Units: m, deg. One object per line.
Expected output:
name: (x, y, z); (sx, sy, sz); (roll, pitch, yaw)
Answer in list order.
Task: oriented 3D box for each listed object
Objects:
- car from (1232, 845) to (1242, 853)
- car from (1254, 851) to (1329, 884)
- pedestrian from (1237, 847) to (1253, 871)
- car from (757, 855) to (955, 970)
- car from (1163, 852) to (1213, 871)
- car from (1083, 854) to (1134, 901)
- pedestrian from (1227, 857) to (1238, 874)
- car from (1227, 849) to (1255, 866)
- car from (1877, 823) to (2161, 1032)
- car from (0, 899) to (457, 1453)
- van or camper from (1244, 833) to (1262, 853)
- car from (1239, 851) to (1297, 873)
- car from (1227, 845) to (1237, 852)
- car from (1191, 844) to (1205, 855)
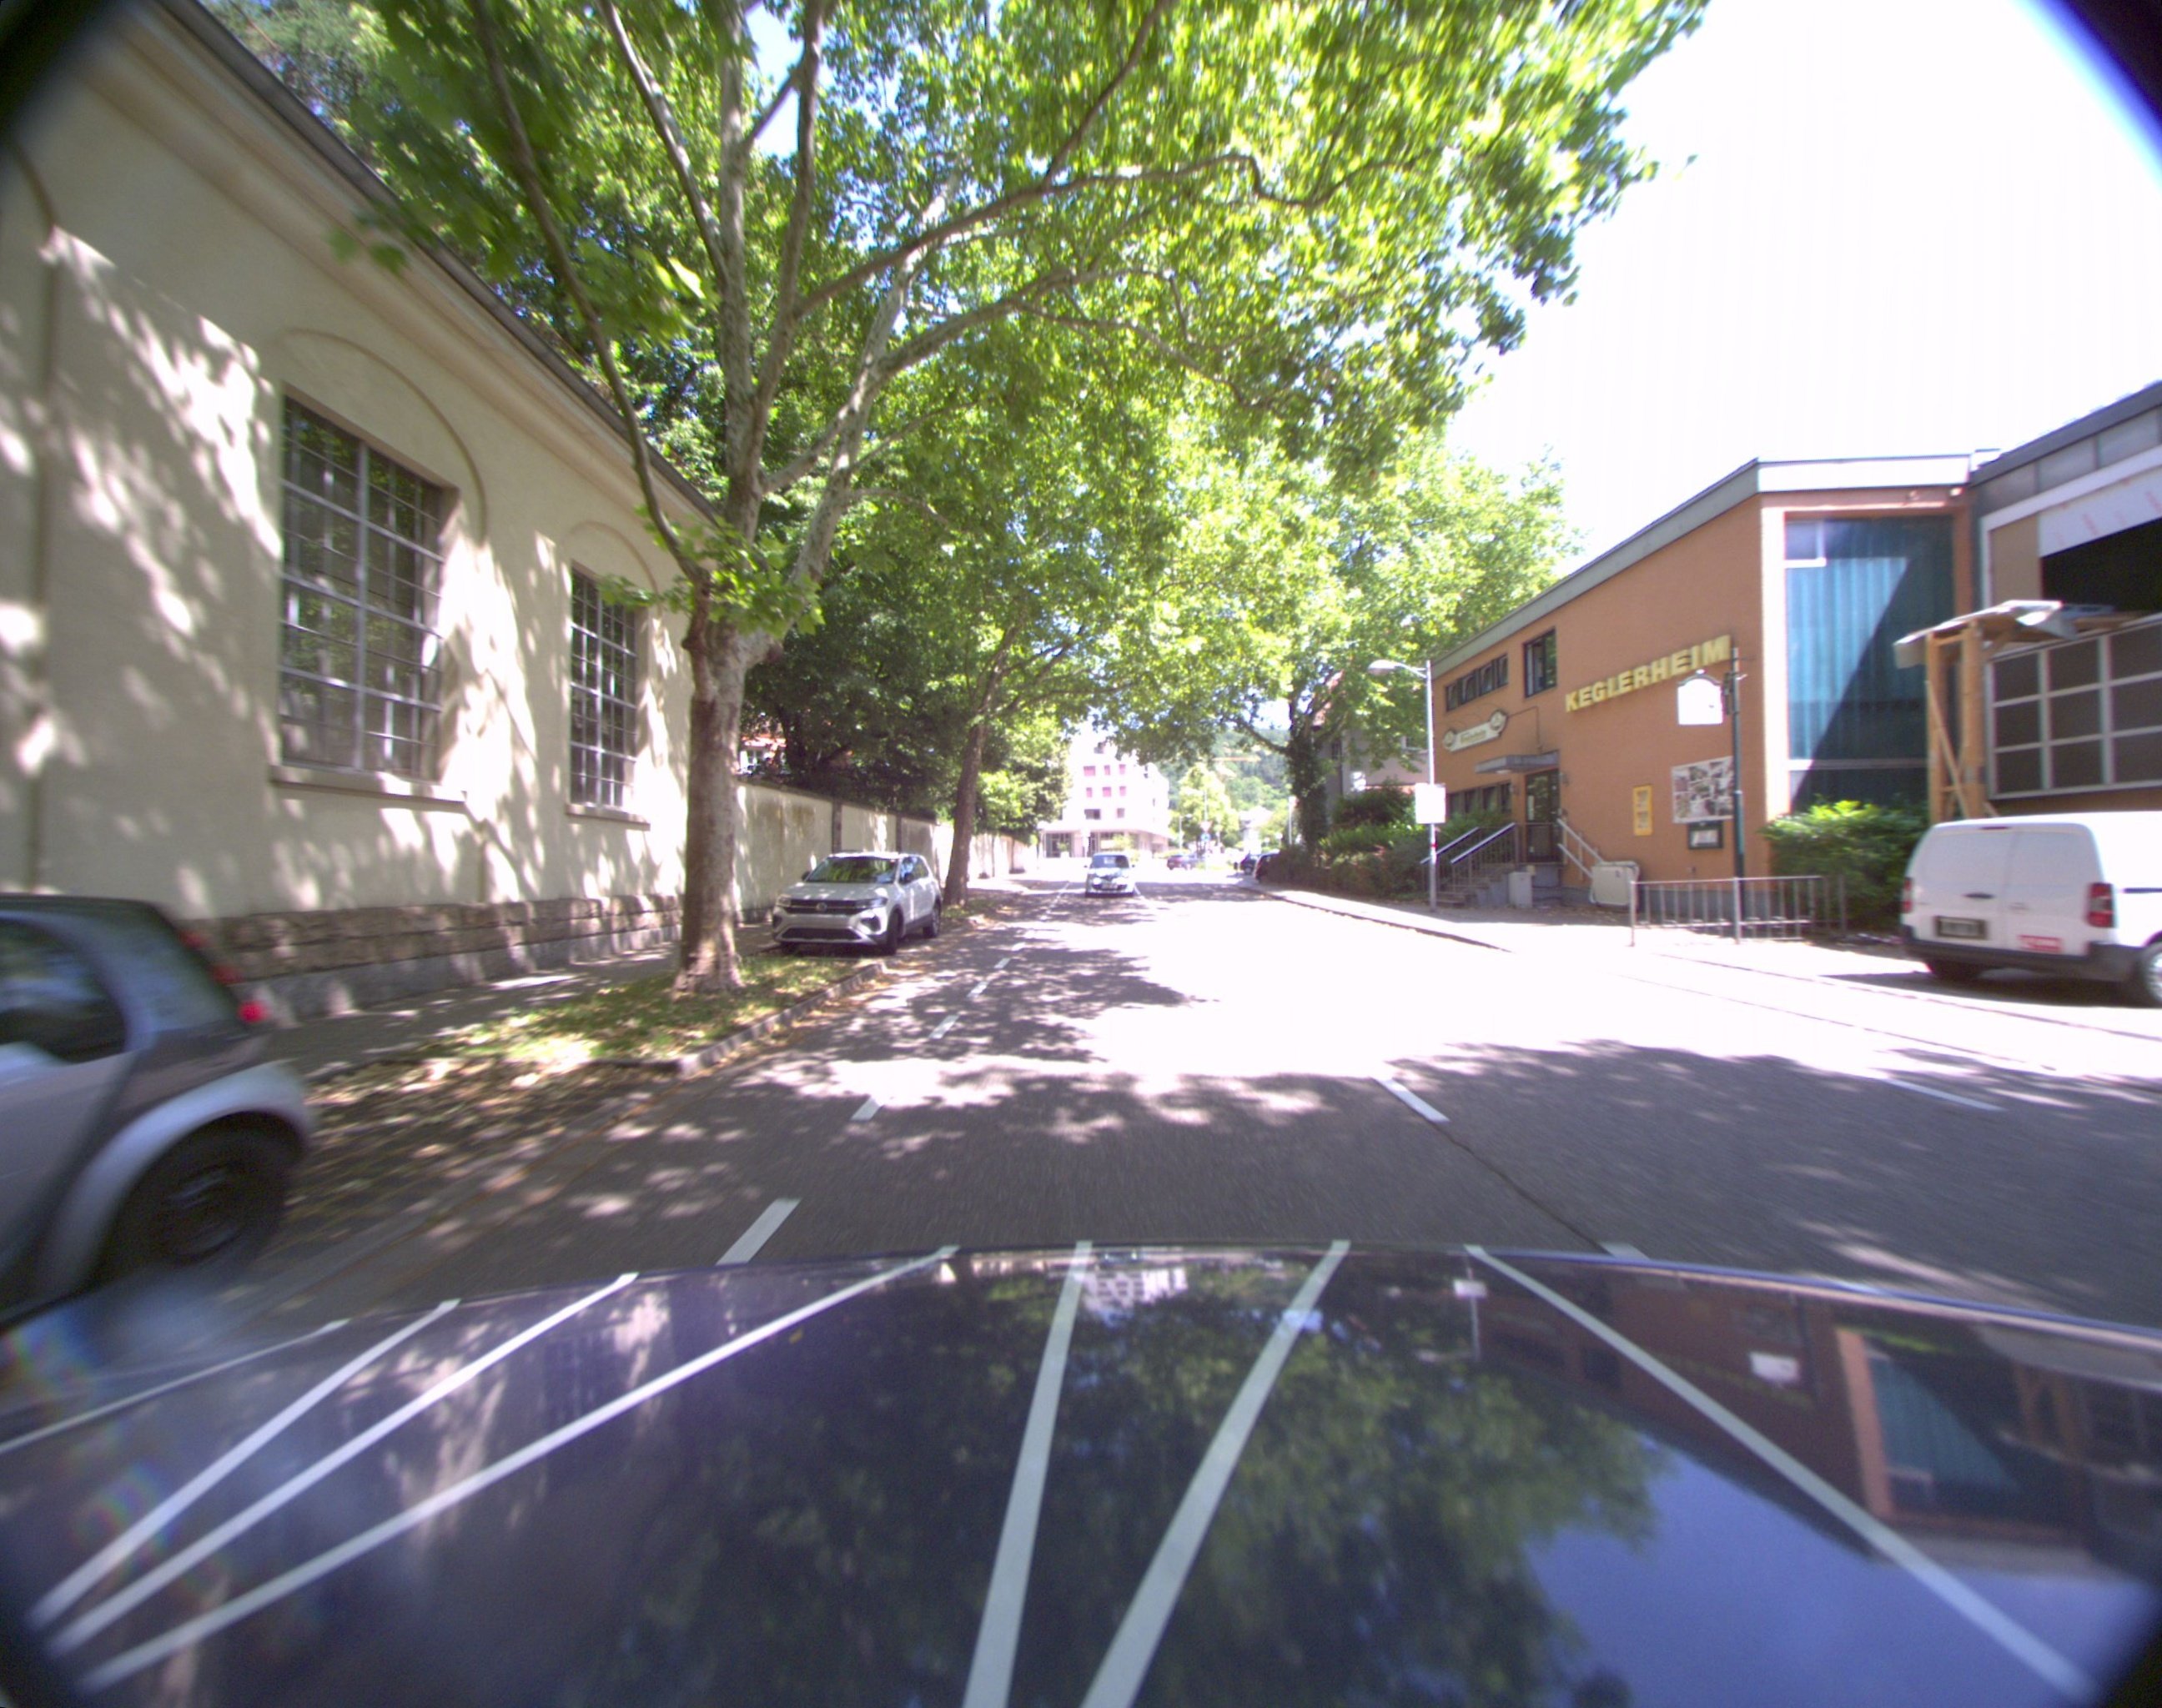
car: (33.951, -1.109, 165.492); (1.997, 1.657, 4.002); (0, 2, 10)
car: (10.106, 0.625, 36.656); (3.387, 1.538, 1.725); (0, 1, 11)
pedestrian: (11.799, 0.362, 54.539); (0.872, 1.732, 1.114); (1, 1, 27)
car: (-3.514, 0.821, 12.910); (1.745, 1.548, 4.781); (1, 0, 2)
car: (8.771, 0.597, 62.098); (1.769, 1.418, 4.402); (1, 1, 44)
car: (0.970, 0.761, 26.579); (1.659, 1.516, 4.163); (0, 0, 2)
pedestrian: (10.374, 0.794, 51.976); (0.755, 1.115, 0.898); (0, 1, 10)
car: (15.047, 0.301, 71.262); (1.604, 1.443, 4.007); (0, 1, 26)
car: (10.969, 0.595, 7.654); (3.998, 1.782, 1.868); (-2, 1, -2)
car: (-3.859, 0.965, 1.457); (1.625, 1.431, 4.432); (1, 1, 1)
van or camper: (25.104, -1.595, 111.079); (2.271, 2.623, 5.890); (-3, 0, 11)
car: (12.849, 0.519, 52.305); (3.786, 1.452, 1.725); (0, 1, 11)
car: (34.977, -1.241, 176.072); (1.997, 1.657, 4.002); (0, 2, 10)
car: (16.675, -0.667, 108.369); (1.753, 1.496, 3.995); (0, 1, 11)
